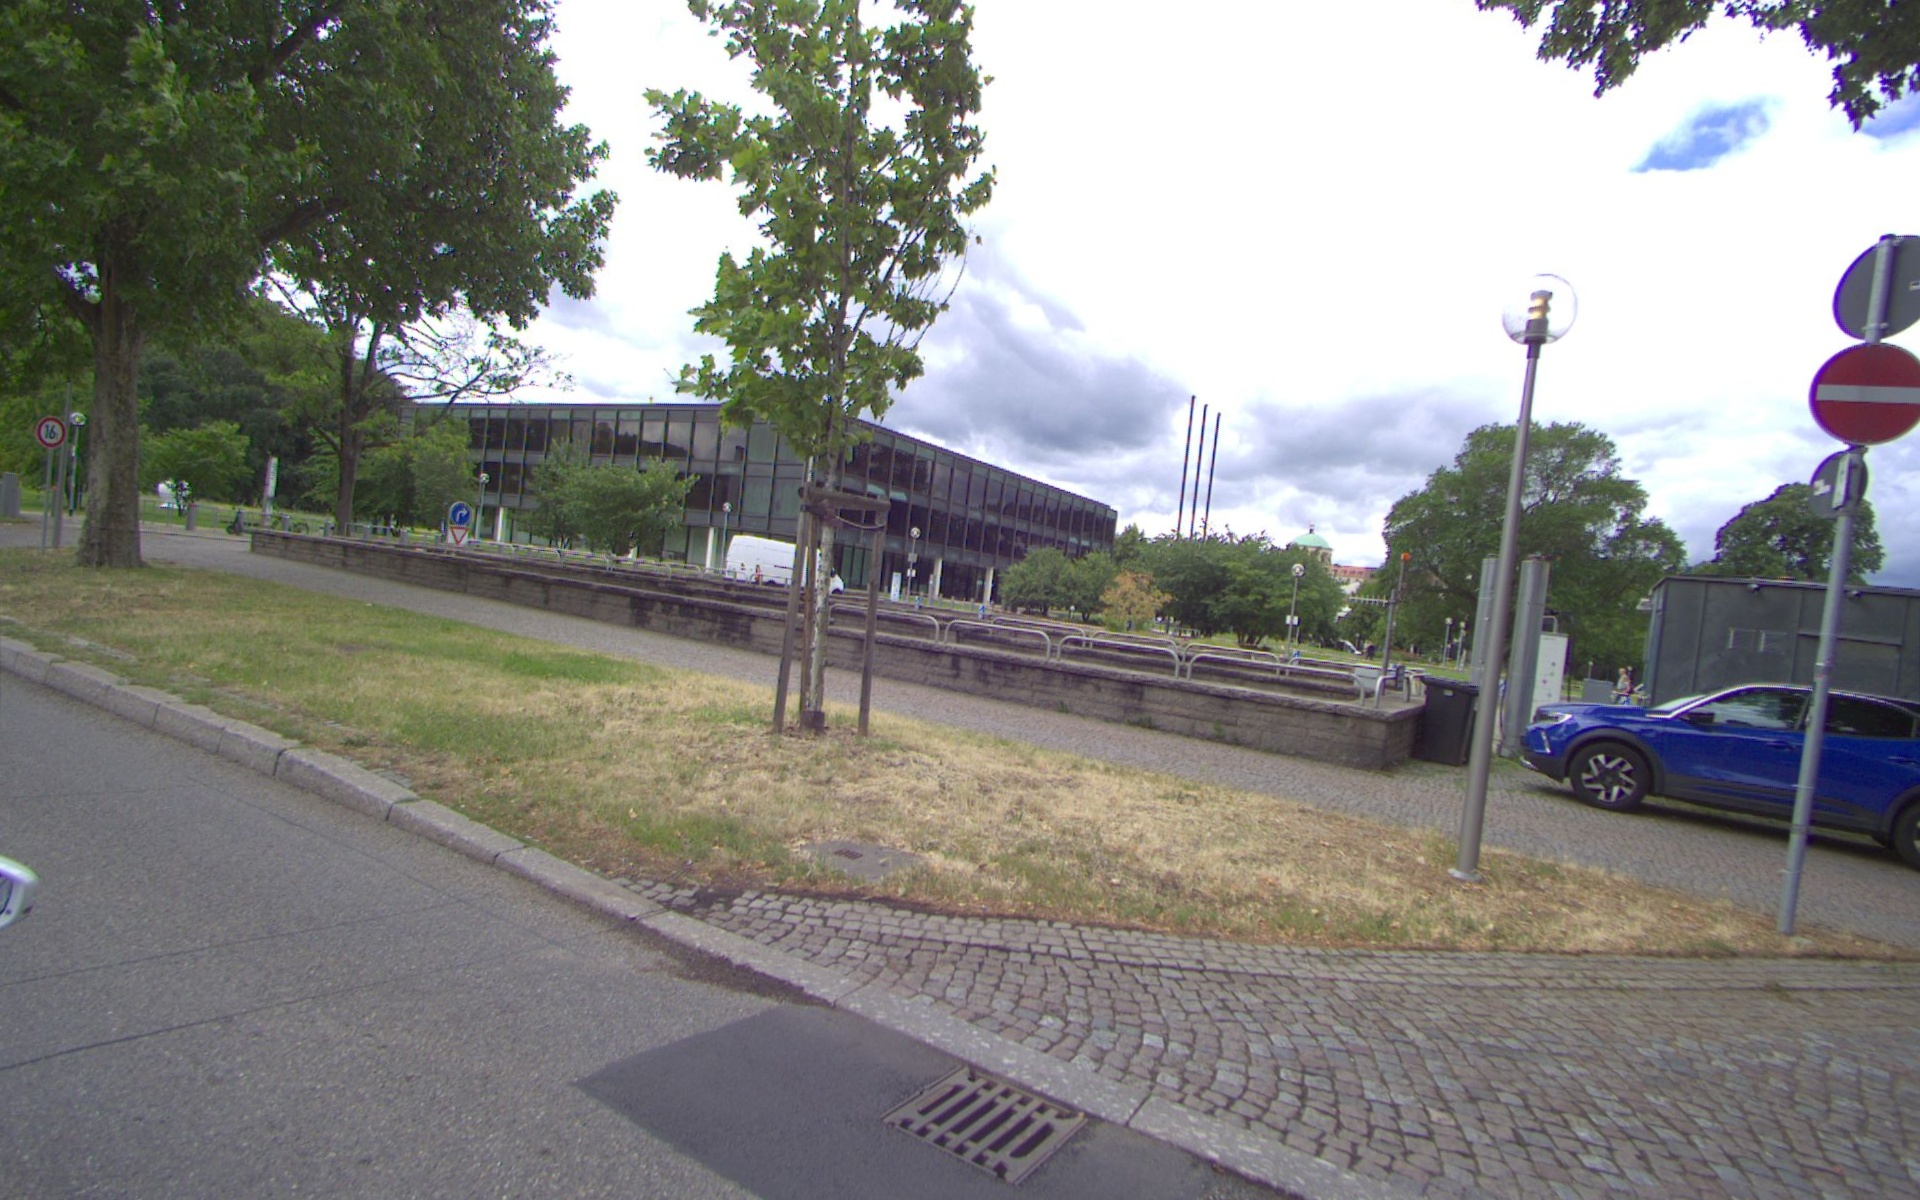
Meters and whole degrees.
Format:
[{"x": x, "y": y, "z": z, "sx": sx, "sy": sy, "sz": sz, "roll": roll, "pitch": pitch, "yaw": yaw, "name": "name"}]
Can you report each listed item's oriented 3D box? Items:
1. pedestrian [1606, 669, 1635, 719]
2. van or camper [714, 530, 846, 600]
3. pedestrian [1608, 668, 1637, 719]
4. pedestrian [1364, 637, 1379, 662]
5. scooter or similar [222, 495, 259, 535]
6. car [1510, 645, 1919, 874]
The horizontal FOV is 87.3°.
[{"x": 28.047, "y": 3.990, "z": 42.746, "sx": 0.802, "sy": 2.037, "sz": 0.857, "roll": 6, "pitch": -2, "yaw": 31, "name": "pedestrian"}, {"x": -7.761, "y": -1.477, "z": 44.089, "sx": 2.283, "sy": 2.347, "sz": 5.704, "roll": 5, "pitch": -2, "yaw": 32, "name": "van or camper"}, {"x": 27.551, "y": 3.888, "z": 41.830, "sx": 0.802, "sy": 2.037, "sz": 0.767, "roll": 6, "pitch": -2, "yaw": 30, "name": "pedestrian"}, {"x": 32.206, "y": 3.899, "z": 78.722, "sx": 0.802, "sy": 1.825, "sz": 0.857, "roll": 7, "pitch": 1, "yaw": 31, "name": "pedestrian"}, {"x": -24.819, "y": -2.933, "z": 34.702, "sx": 0.716, "sy": 1.261, "sz": 0.717, "roll": 6, "pitch": -1, "yaw": 31, "name": "scooter or similar"}, {"x": 8.074, "y": 1.551, "z": 10.126, "sx": 4.150, "sy": 1.537, "sz": 1.764, "roll": 9, "pitch": 2, "yaw": 35, "name": "car"}]
